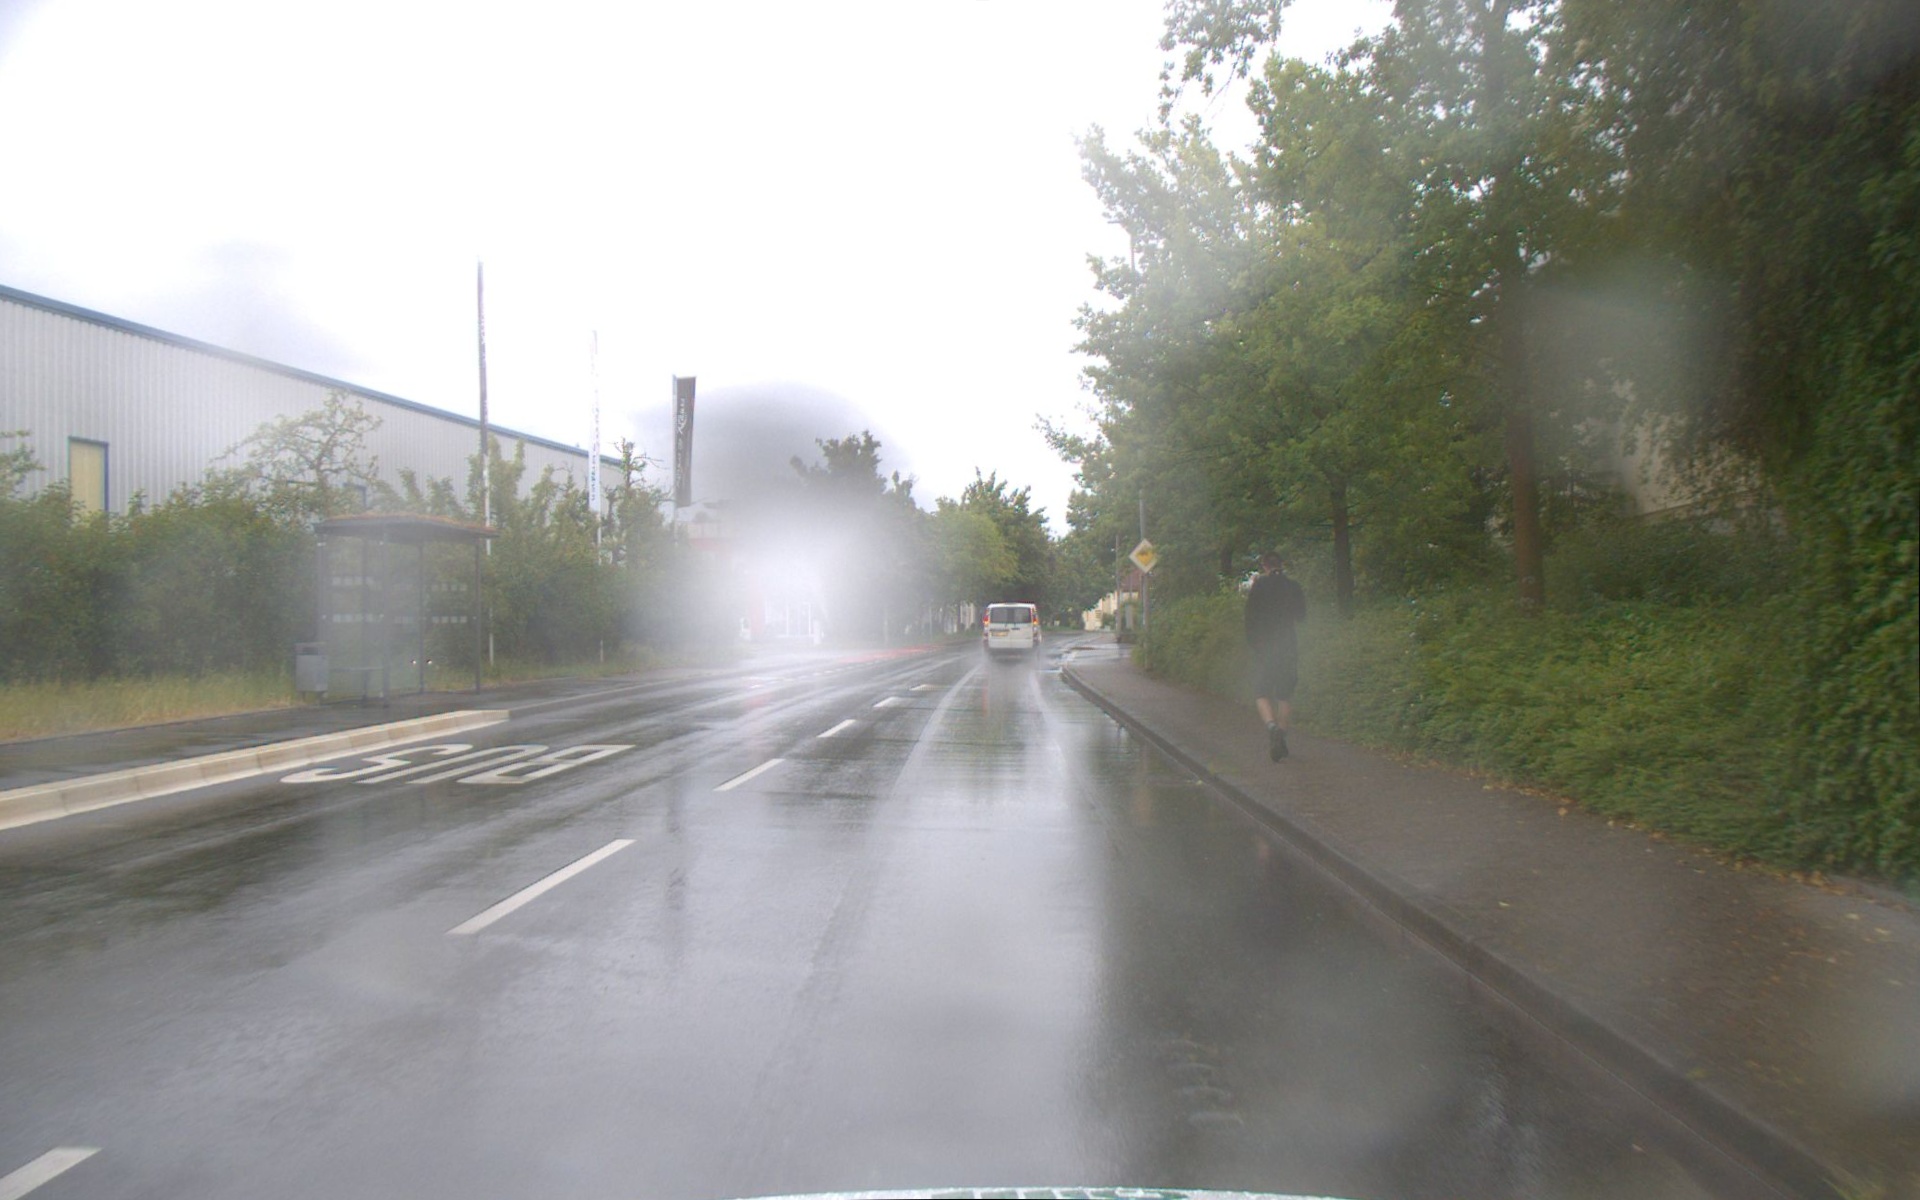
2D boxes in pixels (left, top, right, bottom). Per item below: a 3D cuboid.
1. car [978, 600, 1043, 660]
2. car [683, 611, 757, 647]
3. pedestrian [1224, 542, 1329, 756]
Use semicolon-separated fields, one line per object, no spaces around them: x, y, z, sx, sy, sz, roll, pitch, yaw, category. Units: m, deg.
1.699;0.952;55.346;2.073;1.921;4.503;0;0;2;car
-15.959;1.911;109.980;4.381;2.351;2.186;0;0;10;car
2.879;0.433;15.109;0.730;1.870;0.890;-2;0;0;pedestrian
